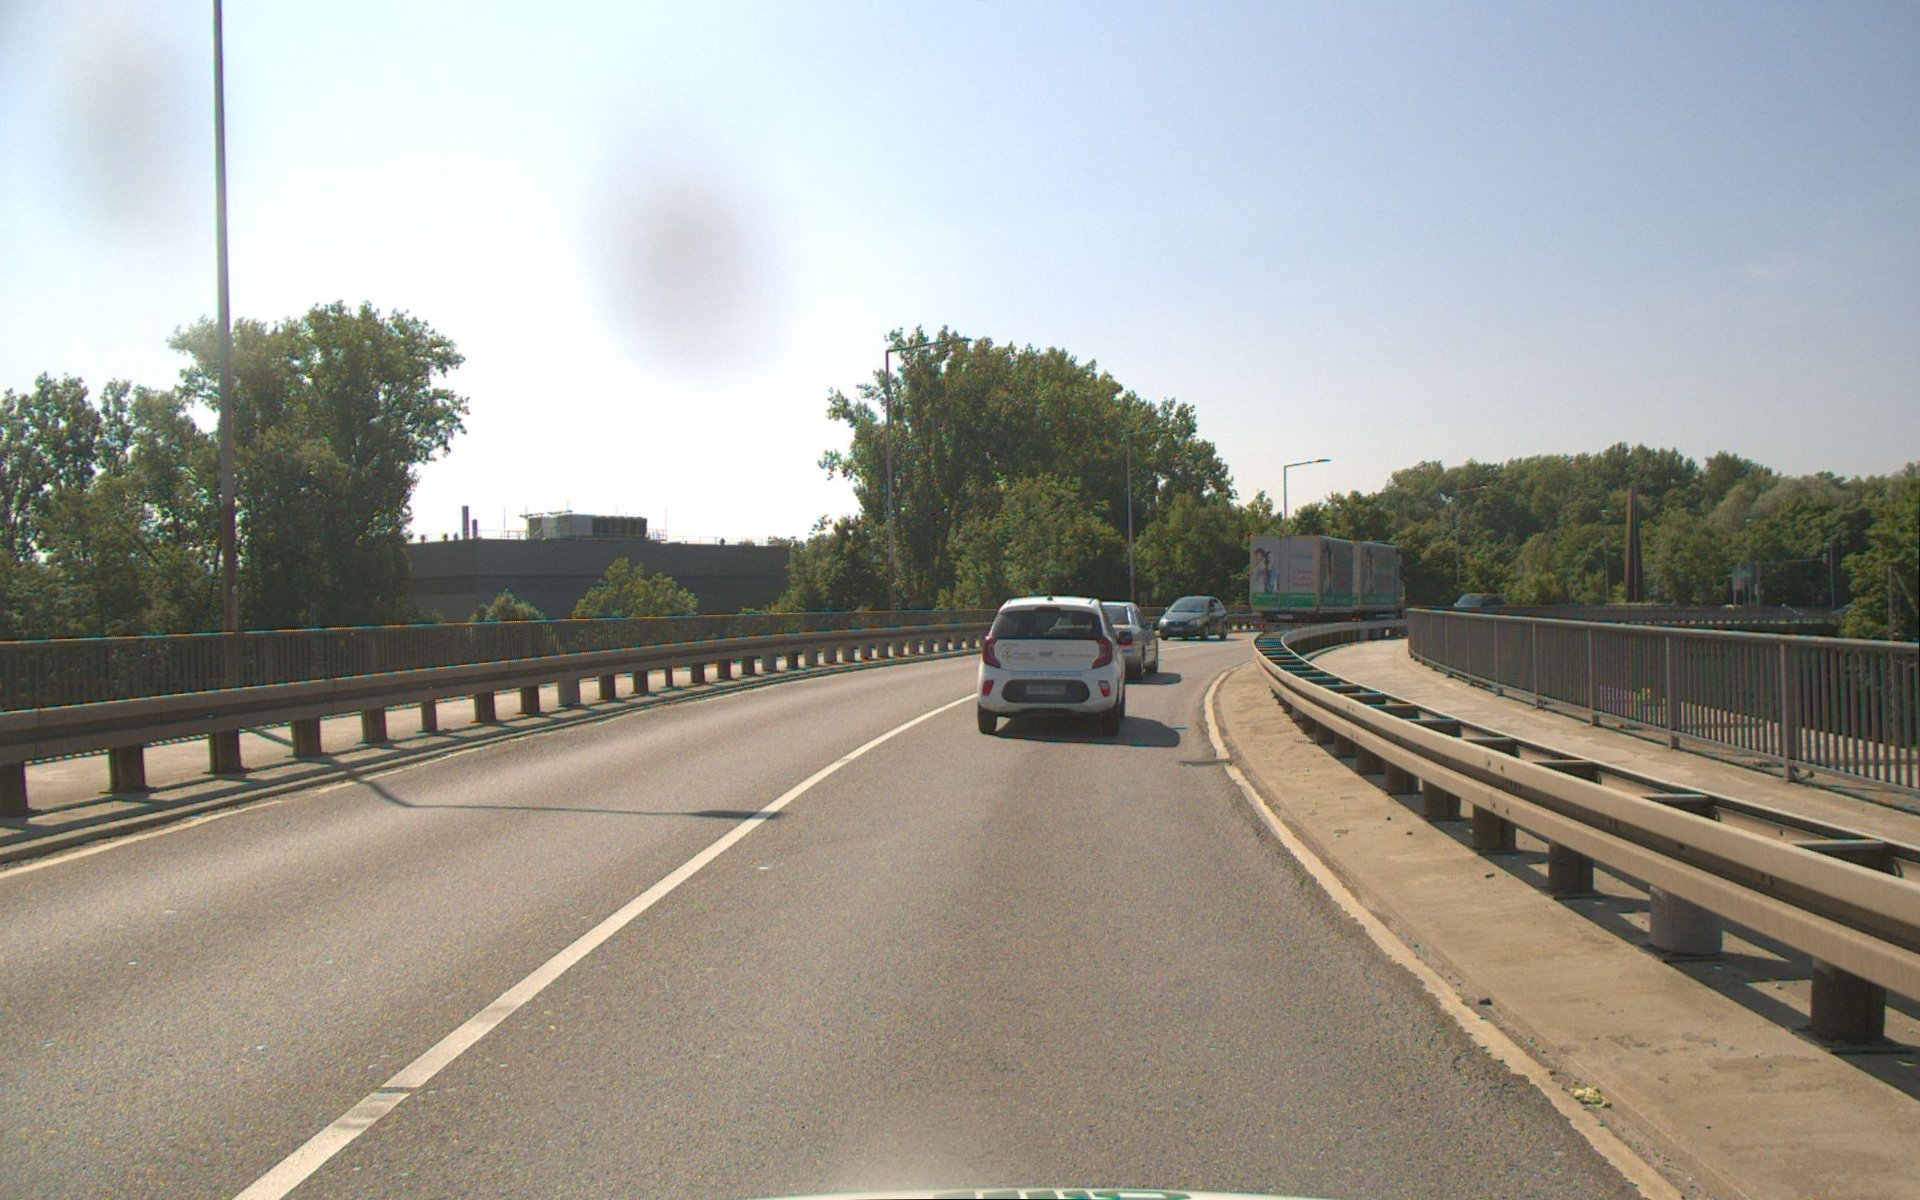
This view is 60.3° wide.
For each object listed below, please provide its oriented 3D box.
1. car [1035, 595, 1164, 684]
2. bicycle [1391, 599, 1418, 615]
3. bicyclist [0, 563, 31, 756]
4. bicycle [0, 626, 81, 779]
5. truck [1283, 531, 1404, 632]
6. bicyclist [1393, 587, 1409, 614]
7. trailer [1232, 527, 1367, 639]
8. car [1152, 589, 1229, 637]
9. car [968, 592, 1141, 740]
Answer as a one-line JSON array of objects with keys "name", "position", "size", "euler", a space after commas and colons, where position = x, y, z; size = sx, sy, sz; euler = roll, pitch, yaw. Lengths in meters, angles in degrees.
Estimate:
[{"name": "car", "position": [2.741, 0.688, 31.399], "size": [1.897, 1.512, 4.904], "euler": [1, 0, 11]}, {"name": "bicycle", "position": [26.418, 0.421, 98.328], "size": [0.912, 0.906, 1.960], "euler": [0, 1, 35]}, {"name": "bicyclist", "position": [-7.623, 0.460, 12.434], "size": [0.595, 1.464, 1.078], "euler": [-2, -1, 4]}, {"name": "bicycle", "position": [-7.601, 0.793, 12.497], "size": [0.599, 1.155, 2.150], "euler": [-3, -1, 4]}, {"name": "truck", "position": [16.015, -0.810, 68.635], "size": [3.195, 3.823, 8.366], "euler": [2, 2, 24]}, {"name": "bicyclist", "position": [26.230, 0.025, 98.286], "size": [0.649, 1.522, 1.013], "euler": [1, 2, 33]}, {"name": "trailer", "position": [12.723, -0.684, 61.414], "size": [3.160, 3.823, 7.820], "euler": [2, 2, 24]}, {"name": "car", "position": [8.622, 0.450, 61.493], "size": [1.697, 1.653, 4.301], "euler": [0, 1, 24]}, {"name": "car", "position": [1.222, 0.729, 19.668], "size": [1.665, 1.520, 4.003], "euler": [1, -1, 9]}]
